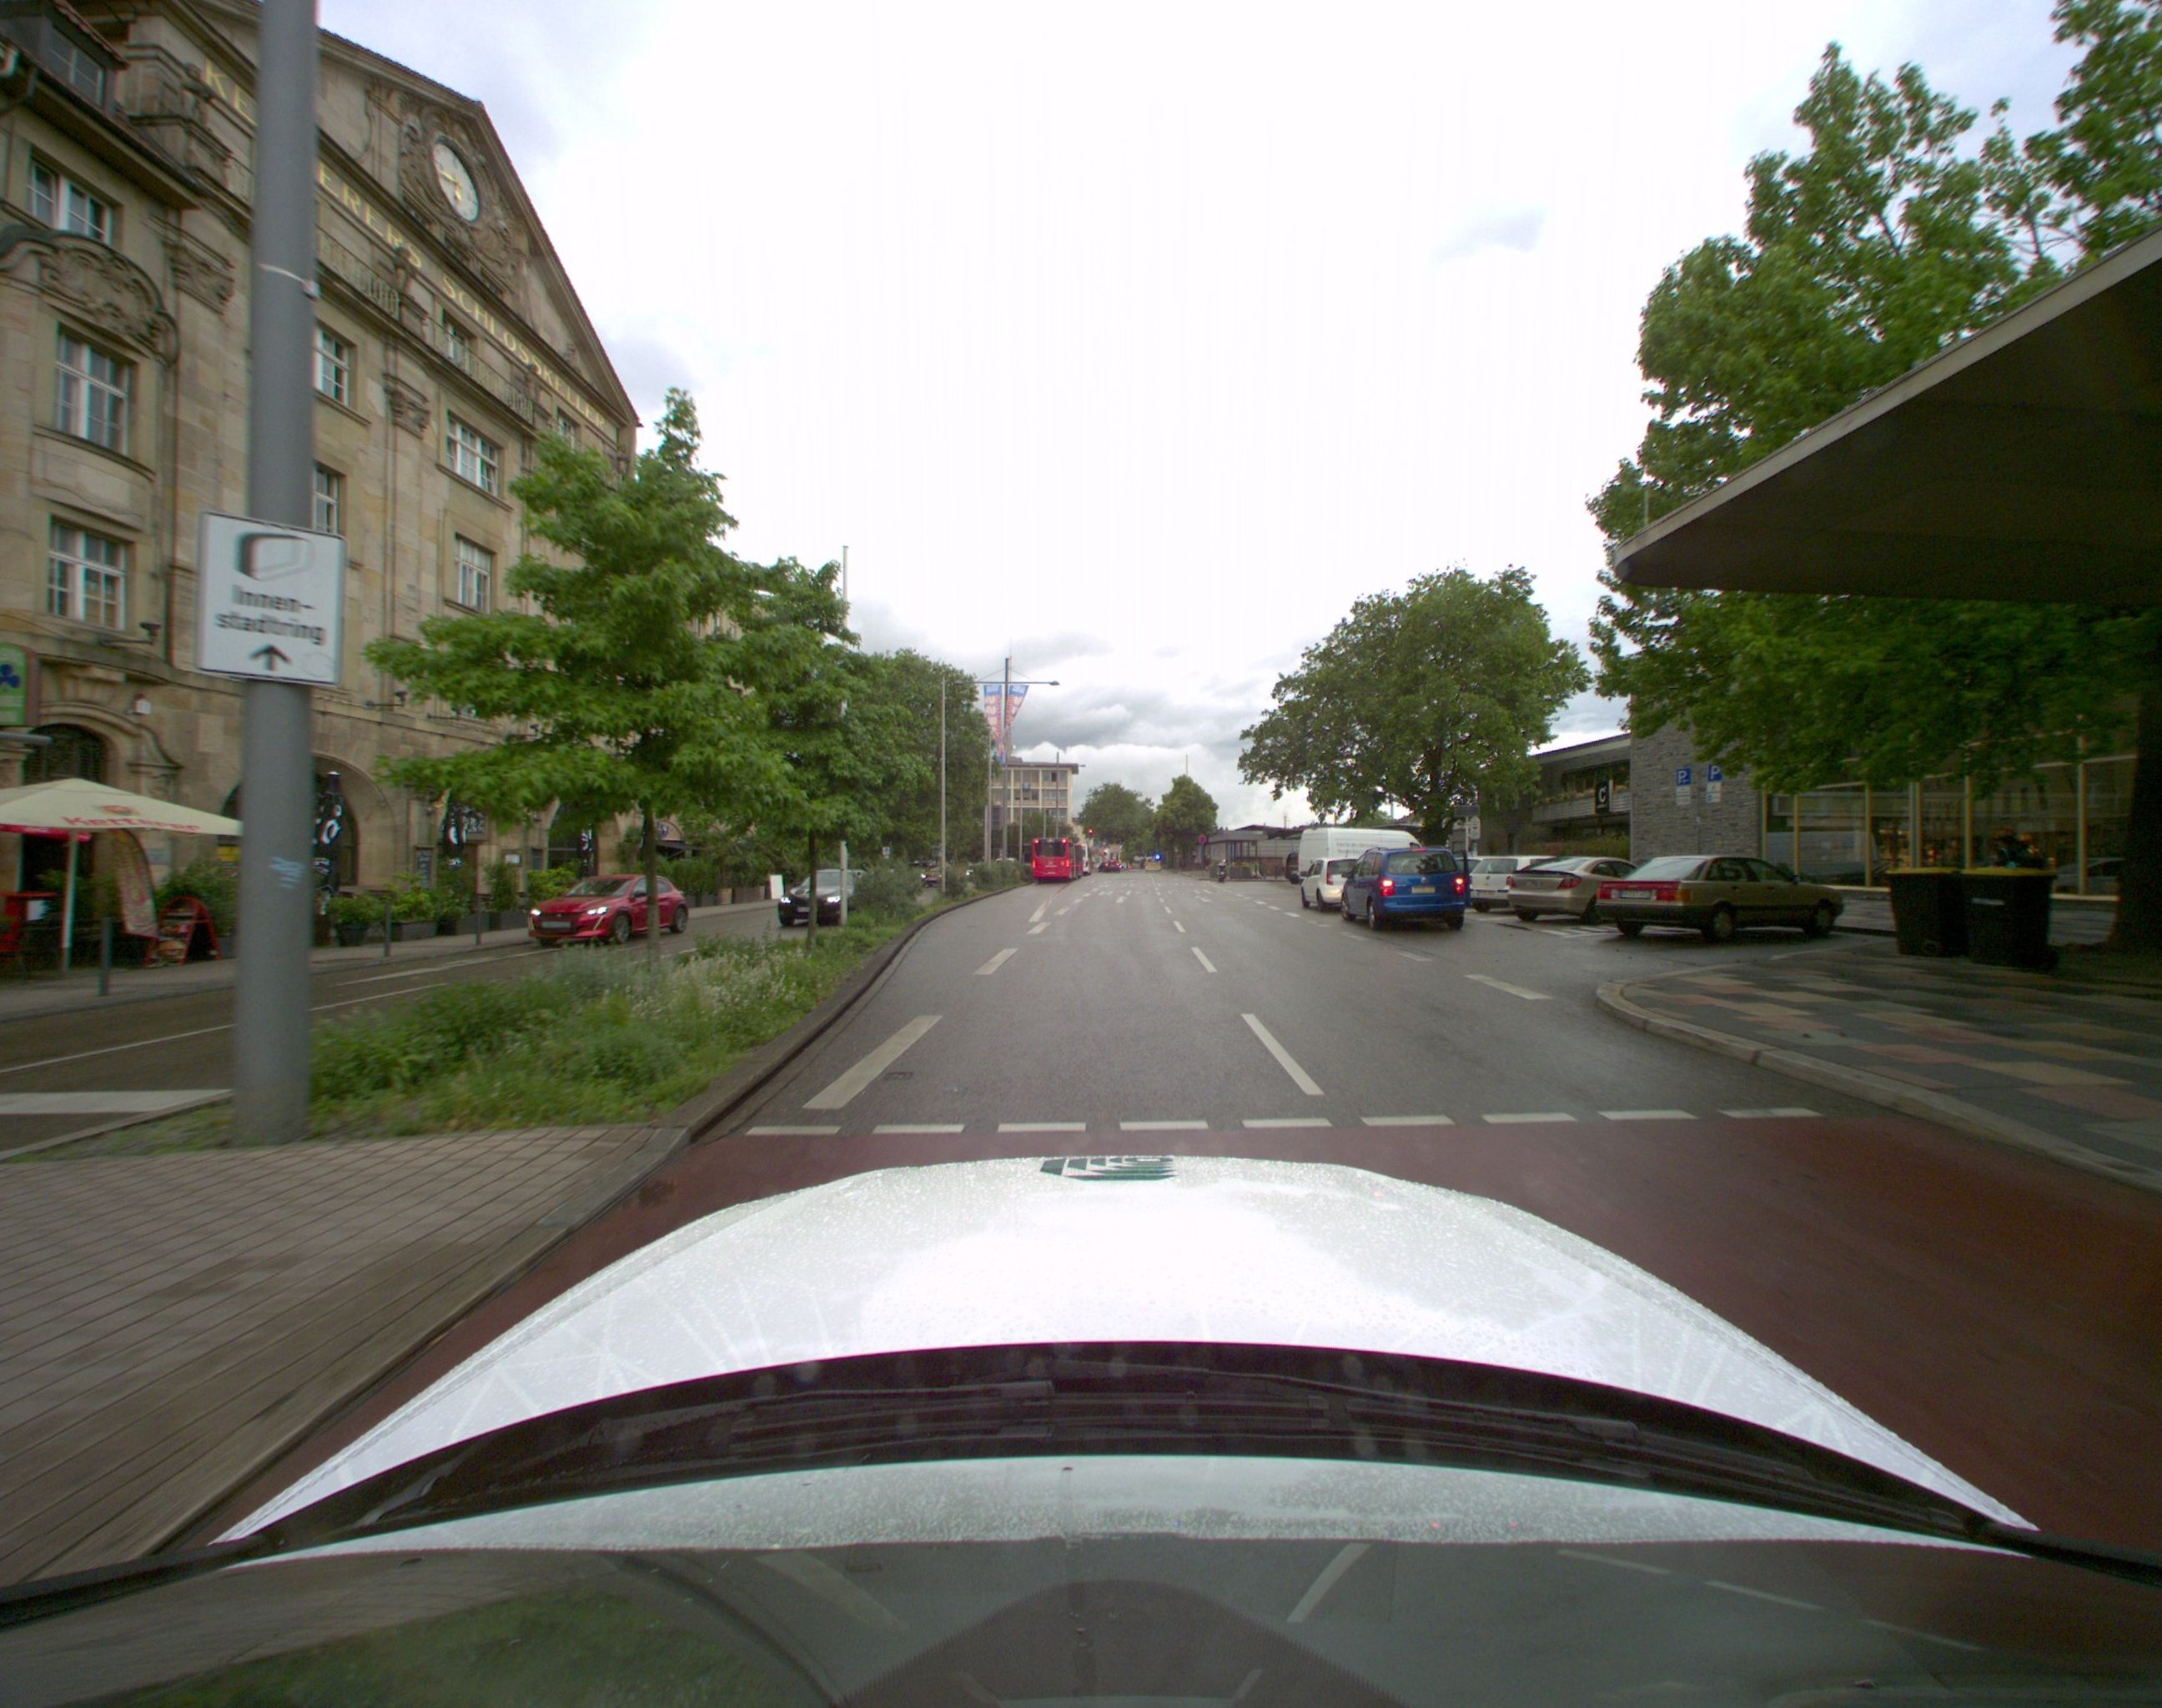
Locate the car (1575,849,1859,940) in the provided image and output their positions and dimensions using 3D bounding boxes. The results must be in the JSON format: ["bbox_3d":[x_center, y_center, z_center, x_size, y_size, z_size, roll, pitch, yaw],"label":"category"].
[{"bbox_3d":[10.882,0.630,13.981,4.197,1.325,1.828,-1,-1,-19],"label":"car"}]

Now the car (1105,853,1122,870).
[{"bbox_3d":[4.170,1.001,104.858,1.986,2.013,4.001,-3,-1,2],"label":"car"}]

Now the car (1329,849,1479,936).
[{"bbox_3d":[6.619,0.749,17.165,1.849,1.569,4.006,-1,-1,5],"label":"car"}]

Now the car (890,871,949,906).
[{"bbox_3d":[-7.393,1.559,37.620,1.741,1.430,3.954,-3,-1,2],"label":"car"}]

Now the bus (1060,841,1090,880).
[{"bbox_3d":[-0.593,0.689,85.717,2.796,3.746,10.443,-3,-1,0],"label":"bus"}]

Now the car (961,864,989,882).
[{"bbox_3d":[-9.427,1.681,72.620,1.741,1.430,3.954,-3,-1,2],"label":"car"}]

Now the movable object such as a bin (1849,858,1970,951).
[{"bbox_3d":[10.417,0.617,10.263,0.751,1.095,0.746,-2,-1,-11],"label":"movable object such as a bin"}]

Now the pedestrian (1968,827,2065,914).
[{"bbox_3d":[17.727,0.305,15.449,0.864,1.559,0.812,-2,-1,-6],"label":"pedestrian"}]

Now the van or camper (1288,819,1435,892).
[{"bbox_3d":[11.902,0.040,34.444,5.977,2.763,2.180,-2,-1,-26],"label":"van or camper"}]

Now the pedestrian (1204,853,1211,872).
[{"bbox_3d":[12.689,0.864,81.708,0.620,1.816,0.598,-2,0,1],"label":"pedestrian"}]

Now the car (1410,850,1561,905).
[{"bbox_3d":[11.825,0.661,23.820,4.007,1.443,1.849,-1,-1,-25],"label":"car"}]

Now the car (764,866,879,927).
[{"bbox_3d":[-7.029,1.102,22.506,1.741,1.430,3.954,-3,-1,2],"label":"car"}]

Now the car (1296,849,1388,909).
[{"bbox_3d":[7.295,0.681,23.115,1.778,1.523,3.688,-1,-1,6],"label":"car"}]

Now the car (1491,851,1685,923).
[{"bbox_3d":[11.005,0.654,17.647,4.011,1.359,1.847,-1,-1,-29],"label":"car"}]

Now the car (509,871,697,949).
[{"bbox_3d":[-10.464,1.148,18.211,1.741,1.430,3.954,-3,-1,2],"label":"car"}]

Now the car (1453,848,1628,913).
[{"bbox_3d":[11.550,0.627,20.473,4.007,1.443,1.849,-1,-1,-25],"label":"car"}]

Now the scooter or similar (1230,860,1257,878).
[{"bbox_3d":[10.770,1.005,54.061,2.161,1.110,0.423,-2,0,-38],"label":"scooter or similar"}]

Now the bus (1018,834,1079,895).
[{"bbox_3d":[-2.209,0.745,61.128,3.531,3.979,11.177,-3,-1,2],"label":"bus"}]

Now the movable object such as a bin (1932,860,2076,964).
[{"bbox_3d":[10.294,0.623,9.107,0.750,1.067,0.747,-2,-1,-8],"label":"movable object such as a bin"}]

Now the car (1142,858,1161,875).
[{"bbox_3d":[8.835,1.608,102.770,1.987,2.013,5.062,-3,-1,1],"label":"car"}]

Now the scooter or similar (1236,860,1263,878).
[{"bbox_3d":[11.101,0.983,53.689,2.161,1.110,0.438,-2,0,-38],"label":"scooter or similar"}]

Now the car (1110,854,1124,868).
[{"bbox_3d":[5.305,1.043,120.365,1.986,2.013,4.001,-3,-1,2],"label":"car"}]

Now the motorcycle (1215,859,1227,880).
[{"bbox_3d":[8.811,0.955,51.375,0.592,1.288,1.957,-2,0,7],"label":"motorcycle"}]

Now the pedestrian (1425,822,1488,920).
[{"bbox_3d":[8.095,0.363,17.585,0.829,2.014,0.888,-2,-1,-3],"label":"pedestrian"}]

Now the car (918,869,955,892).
[{"bbox_3d":[-10.018,1.848,56.740,1.741,1.430,3.954,-3,-1,2],"label":"car"}]
